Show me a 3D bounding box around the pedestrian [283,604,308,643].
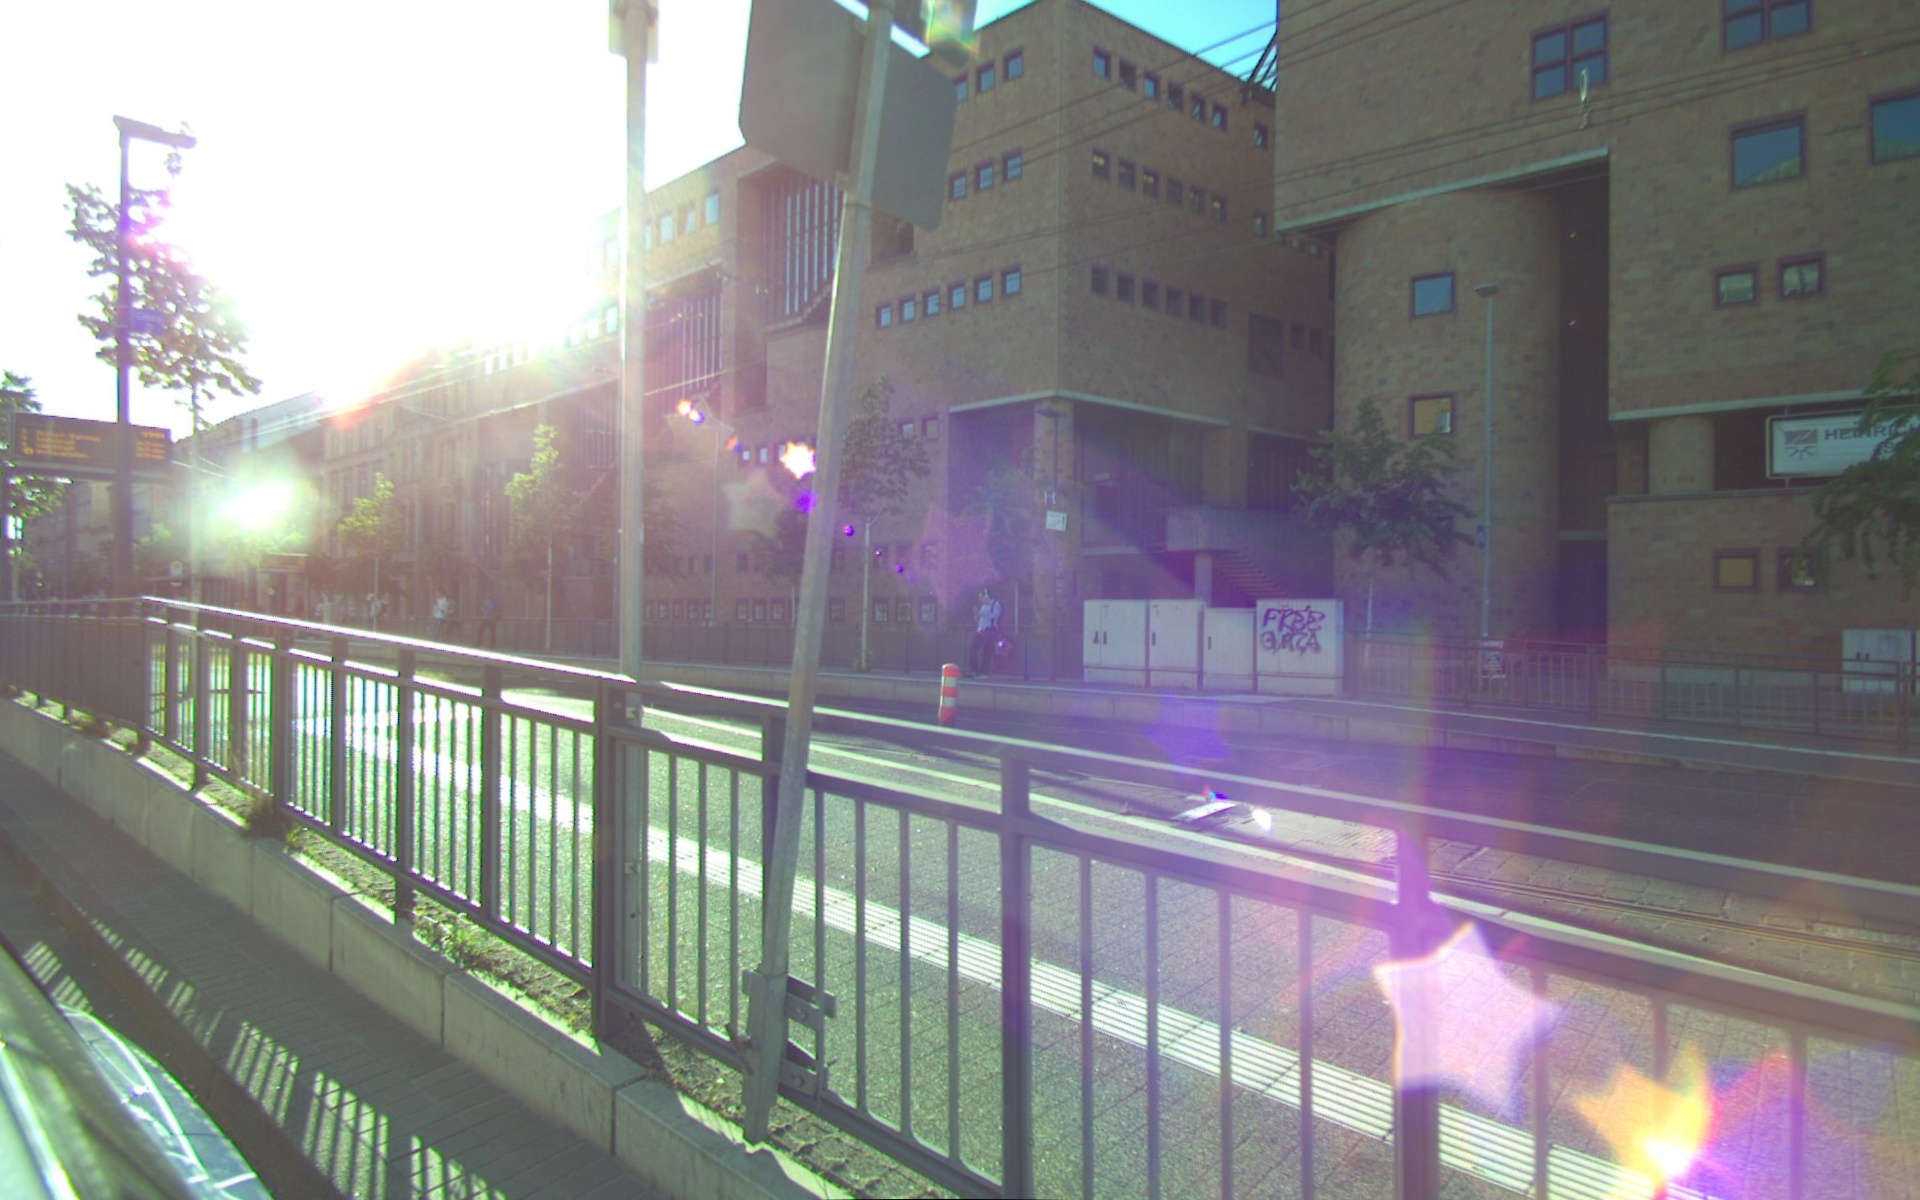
[{"bbox_3d":[-27.132,0.958,41.332,0.586,1.587,0.684,-1,-2,38],"label":"pedestrian"}]

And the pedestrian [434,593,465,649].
[{"bbox_3d":[-16.146,0.665,32.002,0.586,1.755,0.684,-1,-2,38],"label":"pedestrian"}]

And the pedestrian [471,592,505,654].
[{"bbox_3d":[-13.547,0.658,29.078,0.586,1.755,0.684,-1,-2,38],"label":"pedestrian"}]

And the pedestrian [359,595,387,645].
[{"bbox_3d":[-20.968,0.712,36.128,0.586,1.755,0.684,-1,-2,38],"label":"pedestrian"}]

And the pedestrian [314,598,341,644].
[{"bbox_3d":[-24.252,0.796,38.797,0.586,1.755,0.684,-1,-2,38],"label":"pedestrian"}]

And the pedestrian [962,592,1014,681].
[{"bbox_3d":[0.505,0.643,18.023,0.653,1.546,0.693,-1,-2,38],"label":"pedestrian"}]

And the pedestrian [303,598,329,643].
[{"bbox_3d":[-25.182,0.804,39.546,0.586,1.755,0.684,-1,-2,38],"label":"pedestrian"}]

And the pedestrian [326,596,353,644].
[{"bbox_3d":[-23.124,0.750,37.731,0.586,1.755,0.684,-1,-2,38],"label":"pedestrian"}]

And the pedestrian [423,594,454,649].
[{"bbox_3d":[-16.728,0.696,32.458,0.586,1.755,0.684,-1,-2,38],"label":"pedestrian"}]
